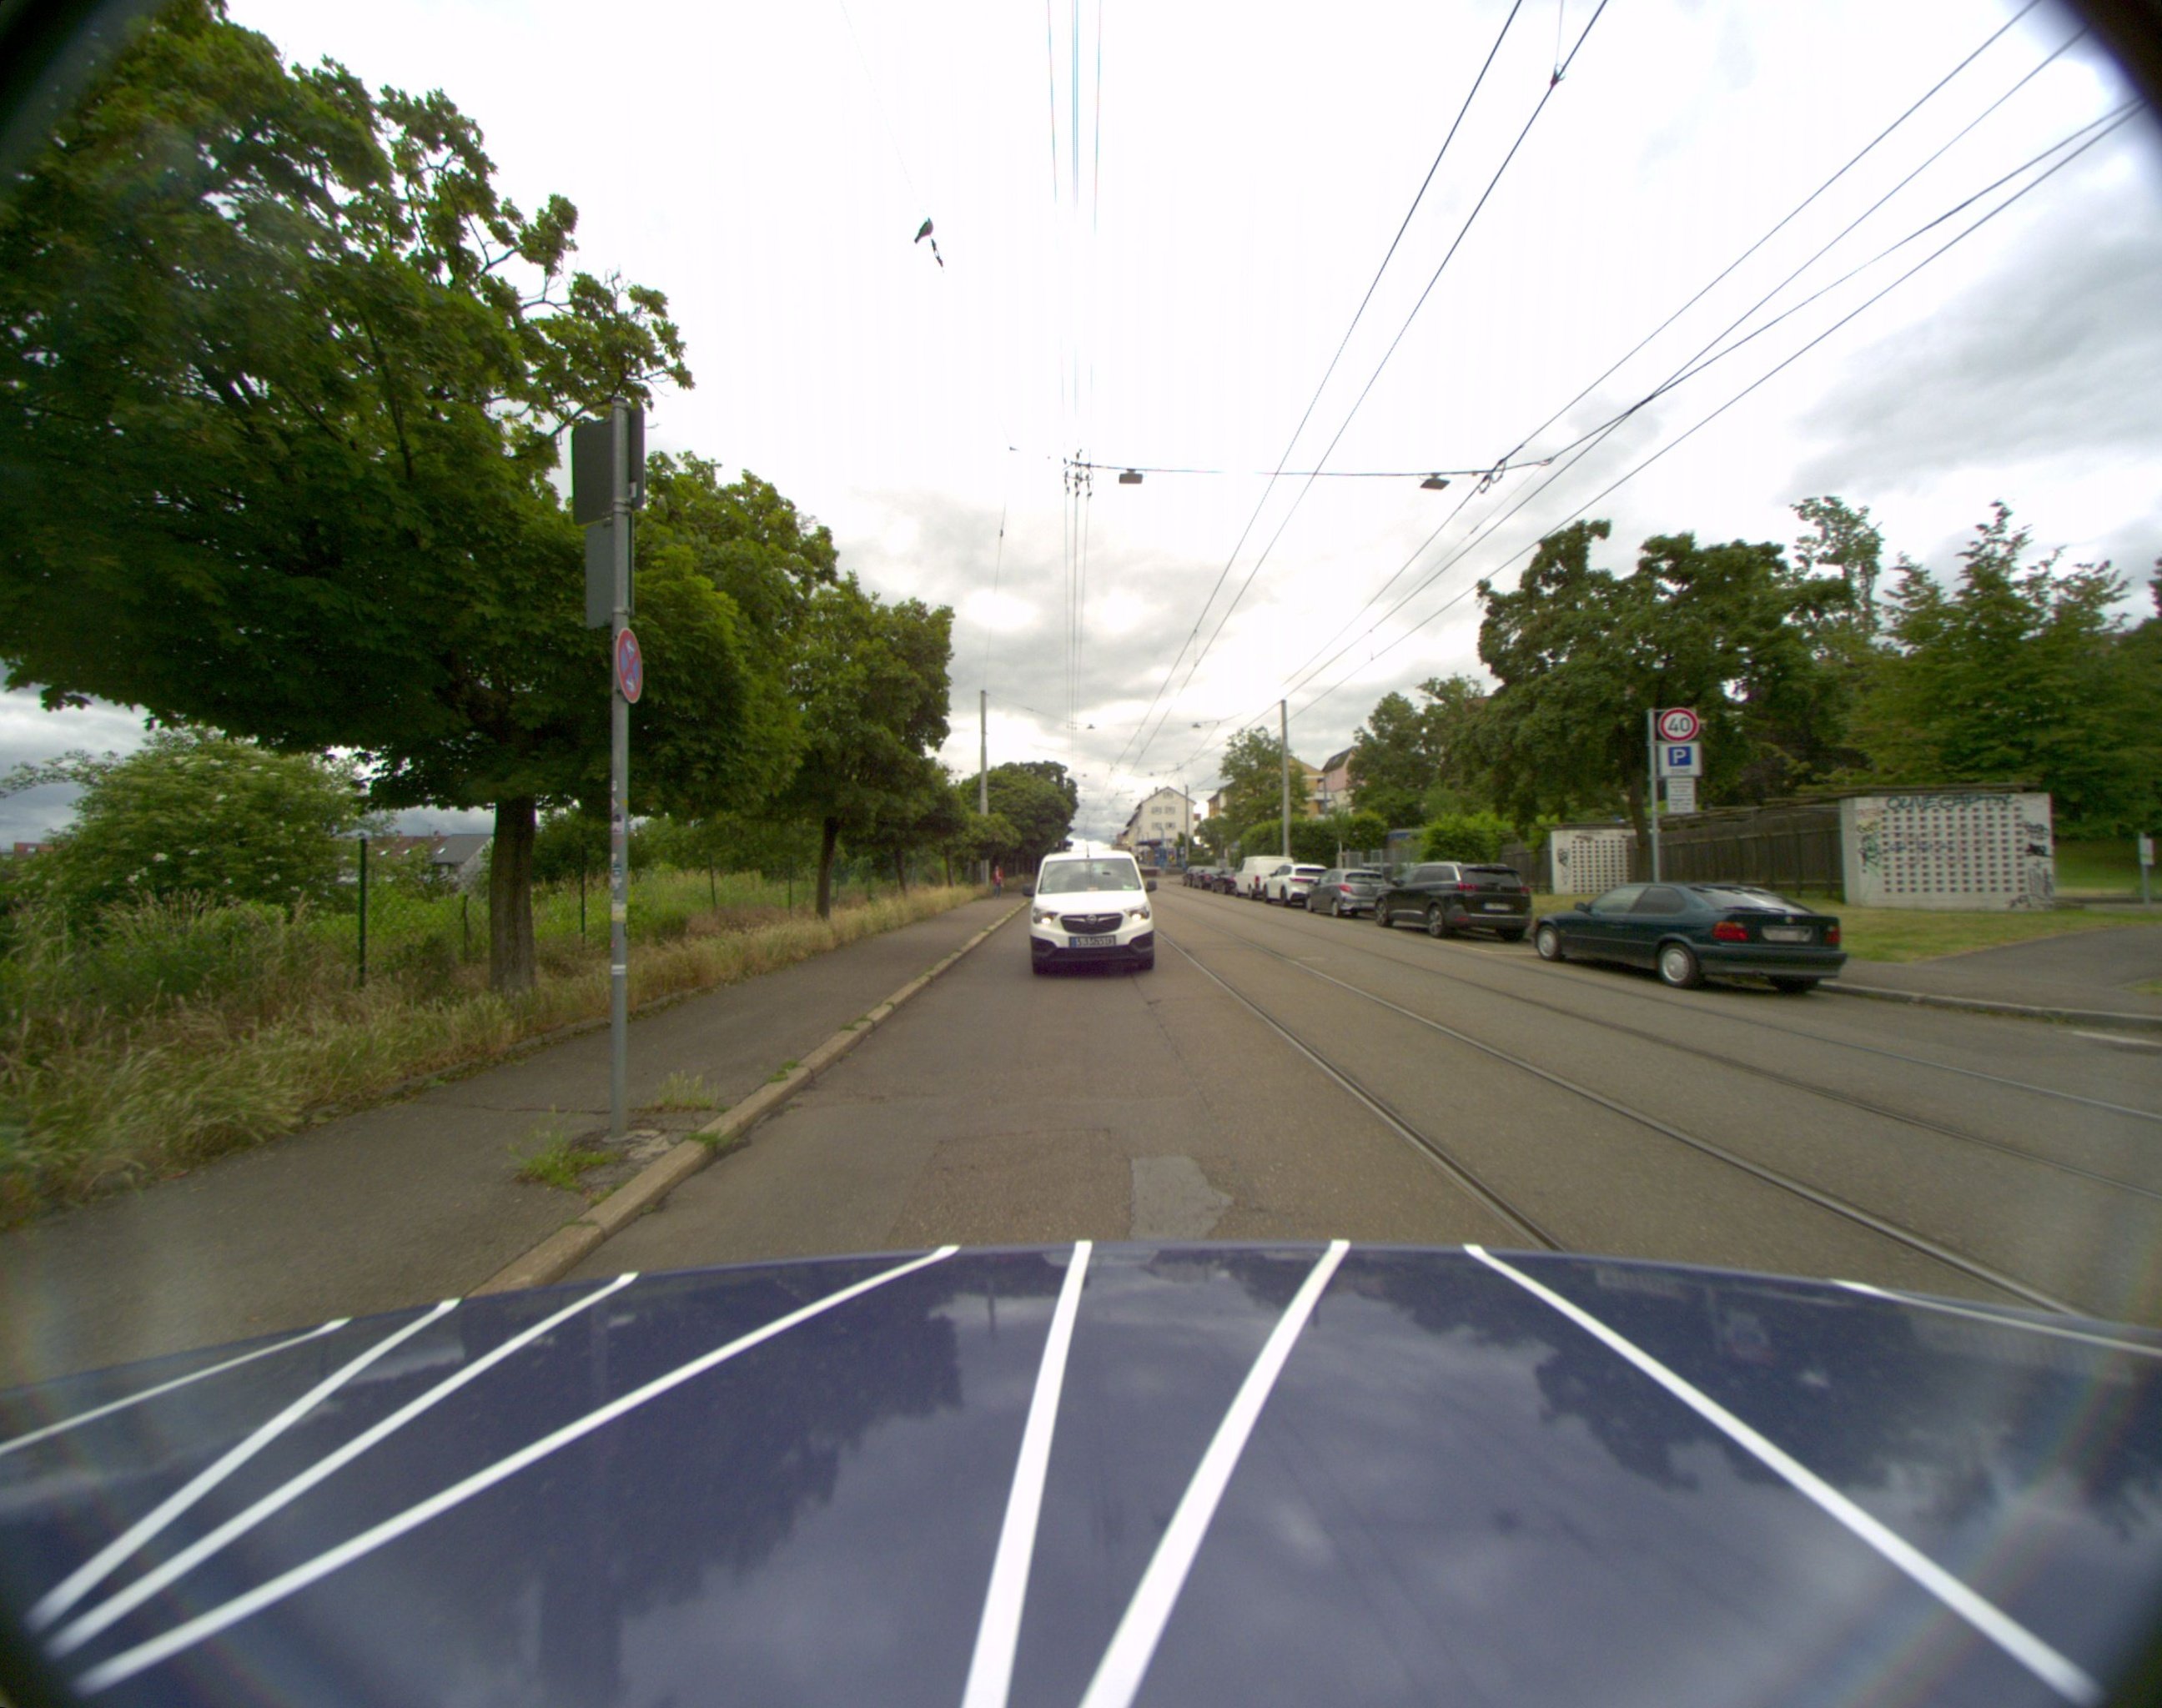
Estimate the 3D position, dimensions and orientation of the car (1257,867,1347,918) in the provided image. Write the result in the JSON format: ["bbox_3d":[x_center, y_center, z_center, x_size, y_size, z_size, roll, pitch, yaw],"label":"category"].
[{"bbox_3d":[8.297,1.390,28.971,1.974,1.677,4.632,0,0,-1],"label":"car"}]

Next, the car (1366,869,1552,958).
[{"bbox_3d":[8.421,1.230,17.461,1.974,1.677,4.443,0,0,-1],"label":"car"}]

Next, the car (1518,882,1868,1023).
[{"bbox_3d":[8.340,1.226,10.952,1.625,1.469,4.155,0,0,-1],"label":"car"}]

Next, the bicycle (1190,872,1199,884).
[{"bbox_3d":[11.552,2.424,77.543,0.713,1.174,1.488,0,1,0],"label":"bicycle"}]

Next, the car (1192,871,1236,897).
[{"bbox_3d":[8.124,1.801,46.833,1.845,1.379,4.439,0,0,-1],"label":"car"}]

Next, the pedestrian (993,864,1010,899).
[{"bbox_3d":[-3.713,1.275,35.494,0.716,1.611,0.718,-1,0,0],"label":"pedestrian"}]

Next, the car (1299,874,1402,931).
[{"bbox_3d":[8.279,1.454,23.696,1.743,1.500,3.868,0,0,-1],"label":"car"}]

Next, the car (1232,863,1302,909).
[{"bbox_3d":[8.432,1.388,34.925,1.974,1.901,4.734,0,0,-1],"label":"car"}]

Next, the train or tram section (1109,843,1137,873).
[{"bbox_3d":[5.362,0.549,99.562,2.857,3.615,12.129,-1,0,0],"label":"train or tram section"}]

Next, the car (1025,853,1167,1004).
[{"bbox_3d":[0.228,0.944,11.595,1.730,1.850,4.421,-1,0,1],"label":"car"}]

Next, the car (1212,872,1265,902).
[{"bbox_3d":[8.356,1.706,40.699,1.845,1.379,4.517,0,0,-1],"label":"car"}]

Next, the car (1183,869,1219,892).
[{"bbox_3d":[8.272,1.817,52.667,1.794,1.396,4.160,0,0,-1],"label":"car"}]
